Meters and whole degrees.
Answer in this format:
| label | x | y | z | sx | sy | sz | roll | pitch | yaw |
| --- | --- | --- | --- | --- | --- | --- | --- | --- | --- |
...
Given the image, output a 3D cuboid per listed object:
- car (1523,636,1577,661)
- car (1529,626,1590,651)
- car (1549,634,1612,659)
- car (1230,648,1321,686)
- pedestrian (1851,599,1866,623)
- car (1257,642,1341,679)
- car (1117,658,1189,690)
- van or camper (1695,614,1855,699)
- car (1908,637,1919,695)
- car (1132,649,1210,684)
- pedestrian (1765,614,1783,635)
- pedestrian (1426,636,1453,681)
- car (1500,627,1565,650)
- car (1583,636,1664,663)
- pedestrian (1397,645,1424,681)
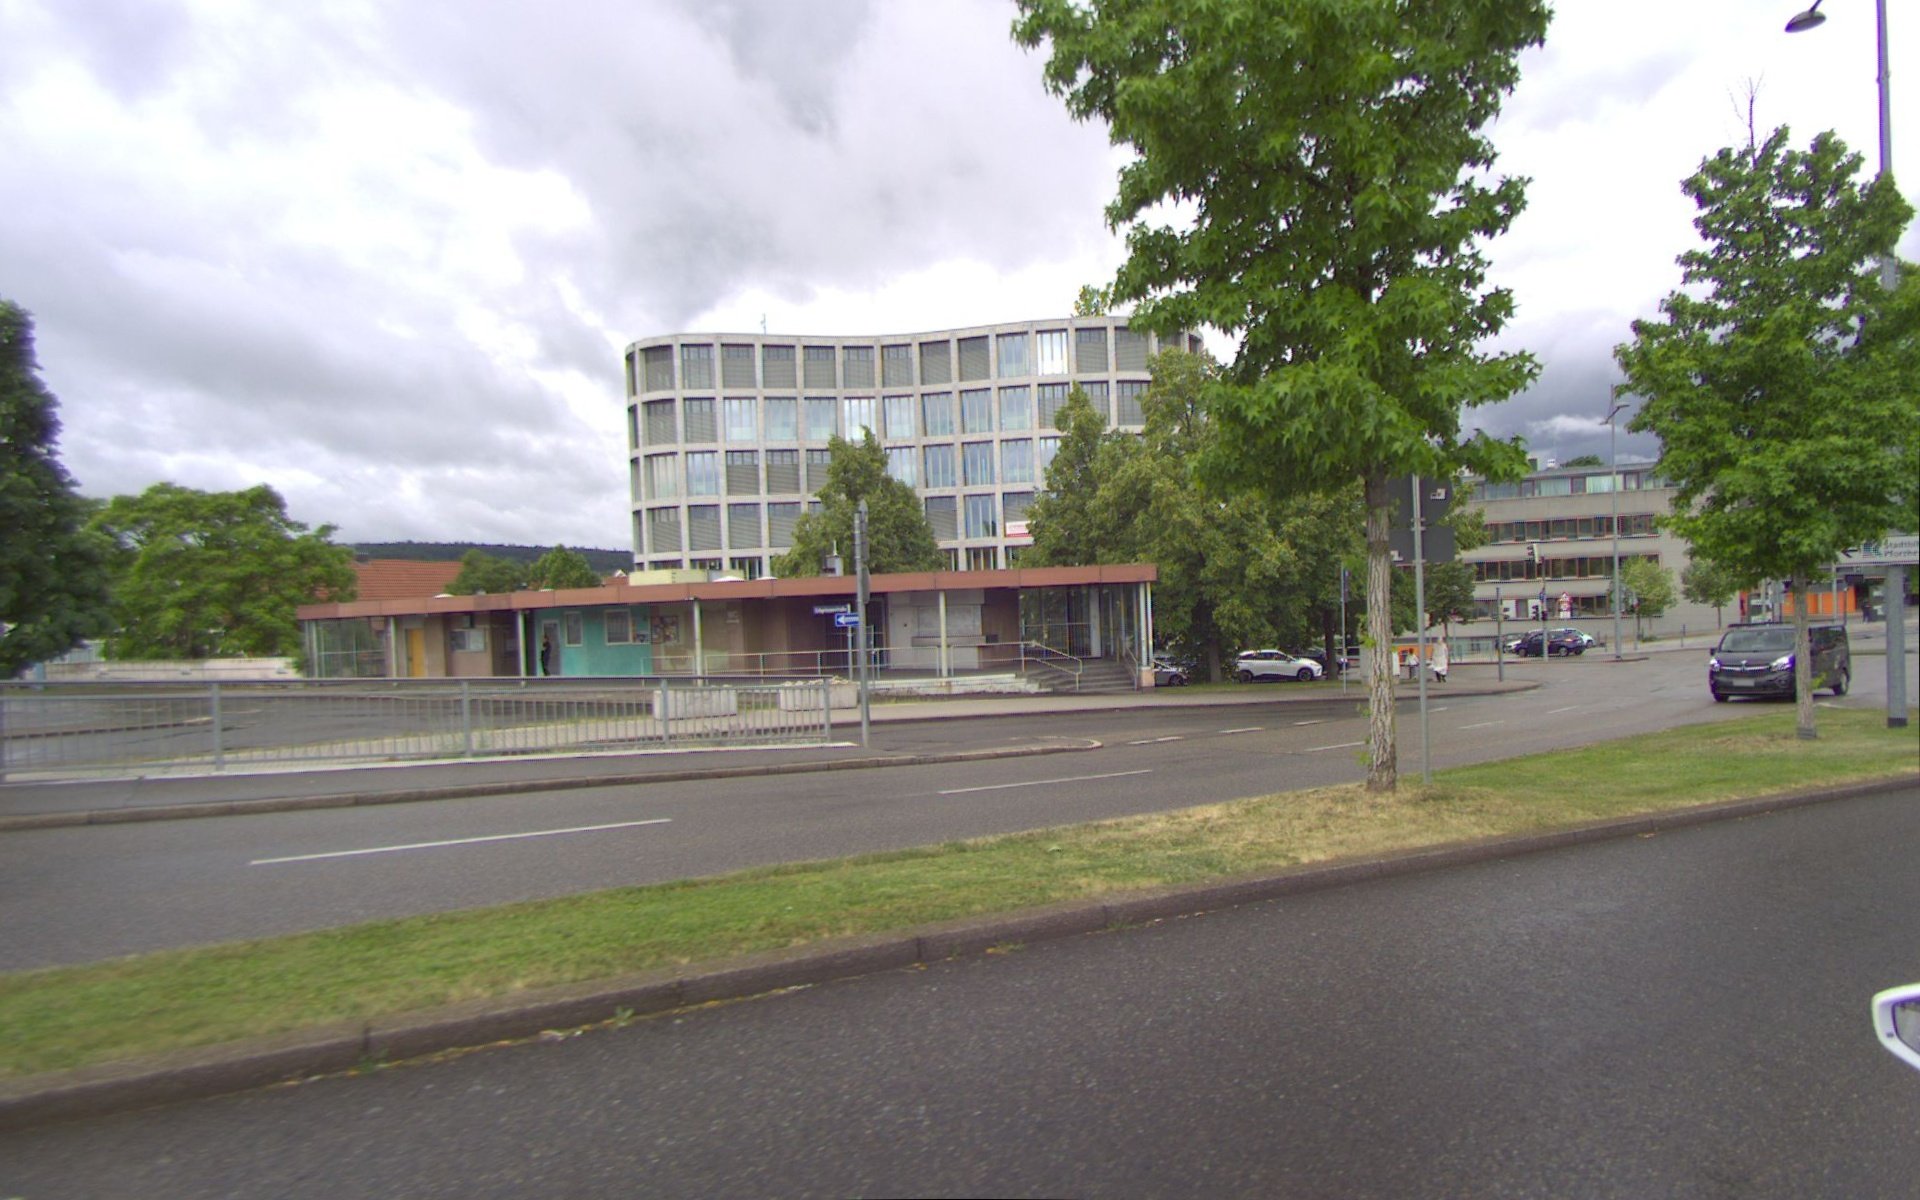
| label | x | y | z | sx | sy | sz | roll | pitch | yaw |
| --- | --- | --- | --- | --- | --- | --- | --- | --- | --- |
| car | 36.639 | 2.984 | 62.419 | 1.453 | 1.368 | 3.584 | -2 | -1 | 5 |
| car | 41.961 | 2.698 | 70.308 | 3.521 | 1.515 | 1.629 | -3 | -1 | -14 |
| car | 42.324 | 3.176 | 68.562 | 3.521 | 1.515 | 1.629 | -3 | -1 | -14 |
| car | 14.759 | 3.144 | 47.177 | 3.975 | 1.528 | 1.729 | -3 | -1 | 16 |
| pedestrian | 65.403 | 0.771 | 73.119 | 0.752 | 1.706 | 0.473 | -2 | -2 | -23 |
| car | 16.658 | 2.971 | 49.519 | 3.761 | 1.588 | 1.729 | -3 | -1 | 13 |
| car | 9.260 | 3.541 | 48.190 | 3.250 | 1.313 | 1.499 | -3 | -1 | 12 |
| van or camper | 22.202 | 1.541 | 27.299 | 5.237 | 2.099 | 2.200 | 2 | -5 | -38 |
| car | 24.396 | 1.586 | 23.862 | 1.607 | 1.467 | 3.872 | -4 | -4 | 27 |
| car | 10.749 | 3.371 | 51.206 | 3.761 | 1.588 | 1.729 | -3 | -1 | 13 |
| pedestrian | 54.583 | 1.641 | 67.366 | 0.712 | 1.410 | 0.675 | -2 | -1 | -31 |
| pedestrian | 17.373 | 2.127 | 36.409 | 0.645 | 1.590 | 0.627 | -4 | -4 | 44 |
| car | 42.568 | 2.863 | 74.757 | 3.712 | 1.515 | 1.767 | -3 | -1 | 9 |
| car | 40.485 | 3.039 | 61.349 | 1.806 | 1.458 | 3.651 | -3 | -3 | -26 |
| pedestrian | 16.712 | 2.326 | 37.250 | 0.626 | 1.309 | 0.646 | 2 | -4 | -42 |
